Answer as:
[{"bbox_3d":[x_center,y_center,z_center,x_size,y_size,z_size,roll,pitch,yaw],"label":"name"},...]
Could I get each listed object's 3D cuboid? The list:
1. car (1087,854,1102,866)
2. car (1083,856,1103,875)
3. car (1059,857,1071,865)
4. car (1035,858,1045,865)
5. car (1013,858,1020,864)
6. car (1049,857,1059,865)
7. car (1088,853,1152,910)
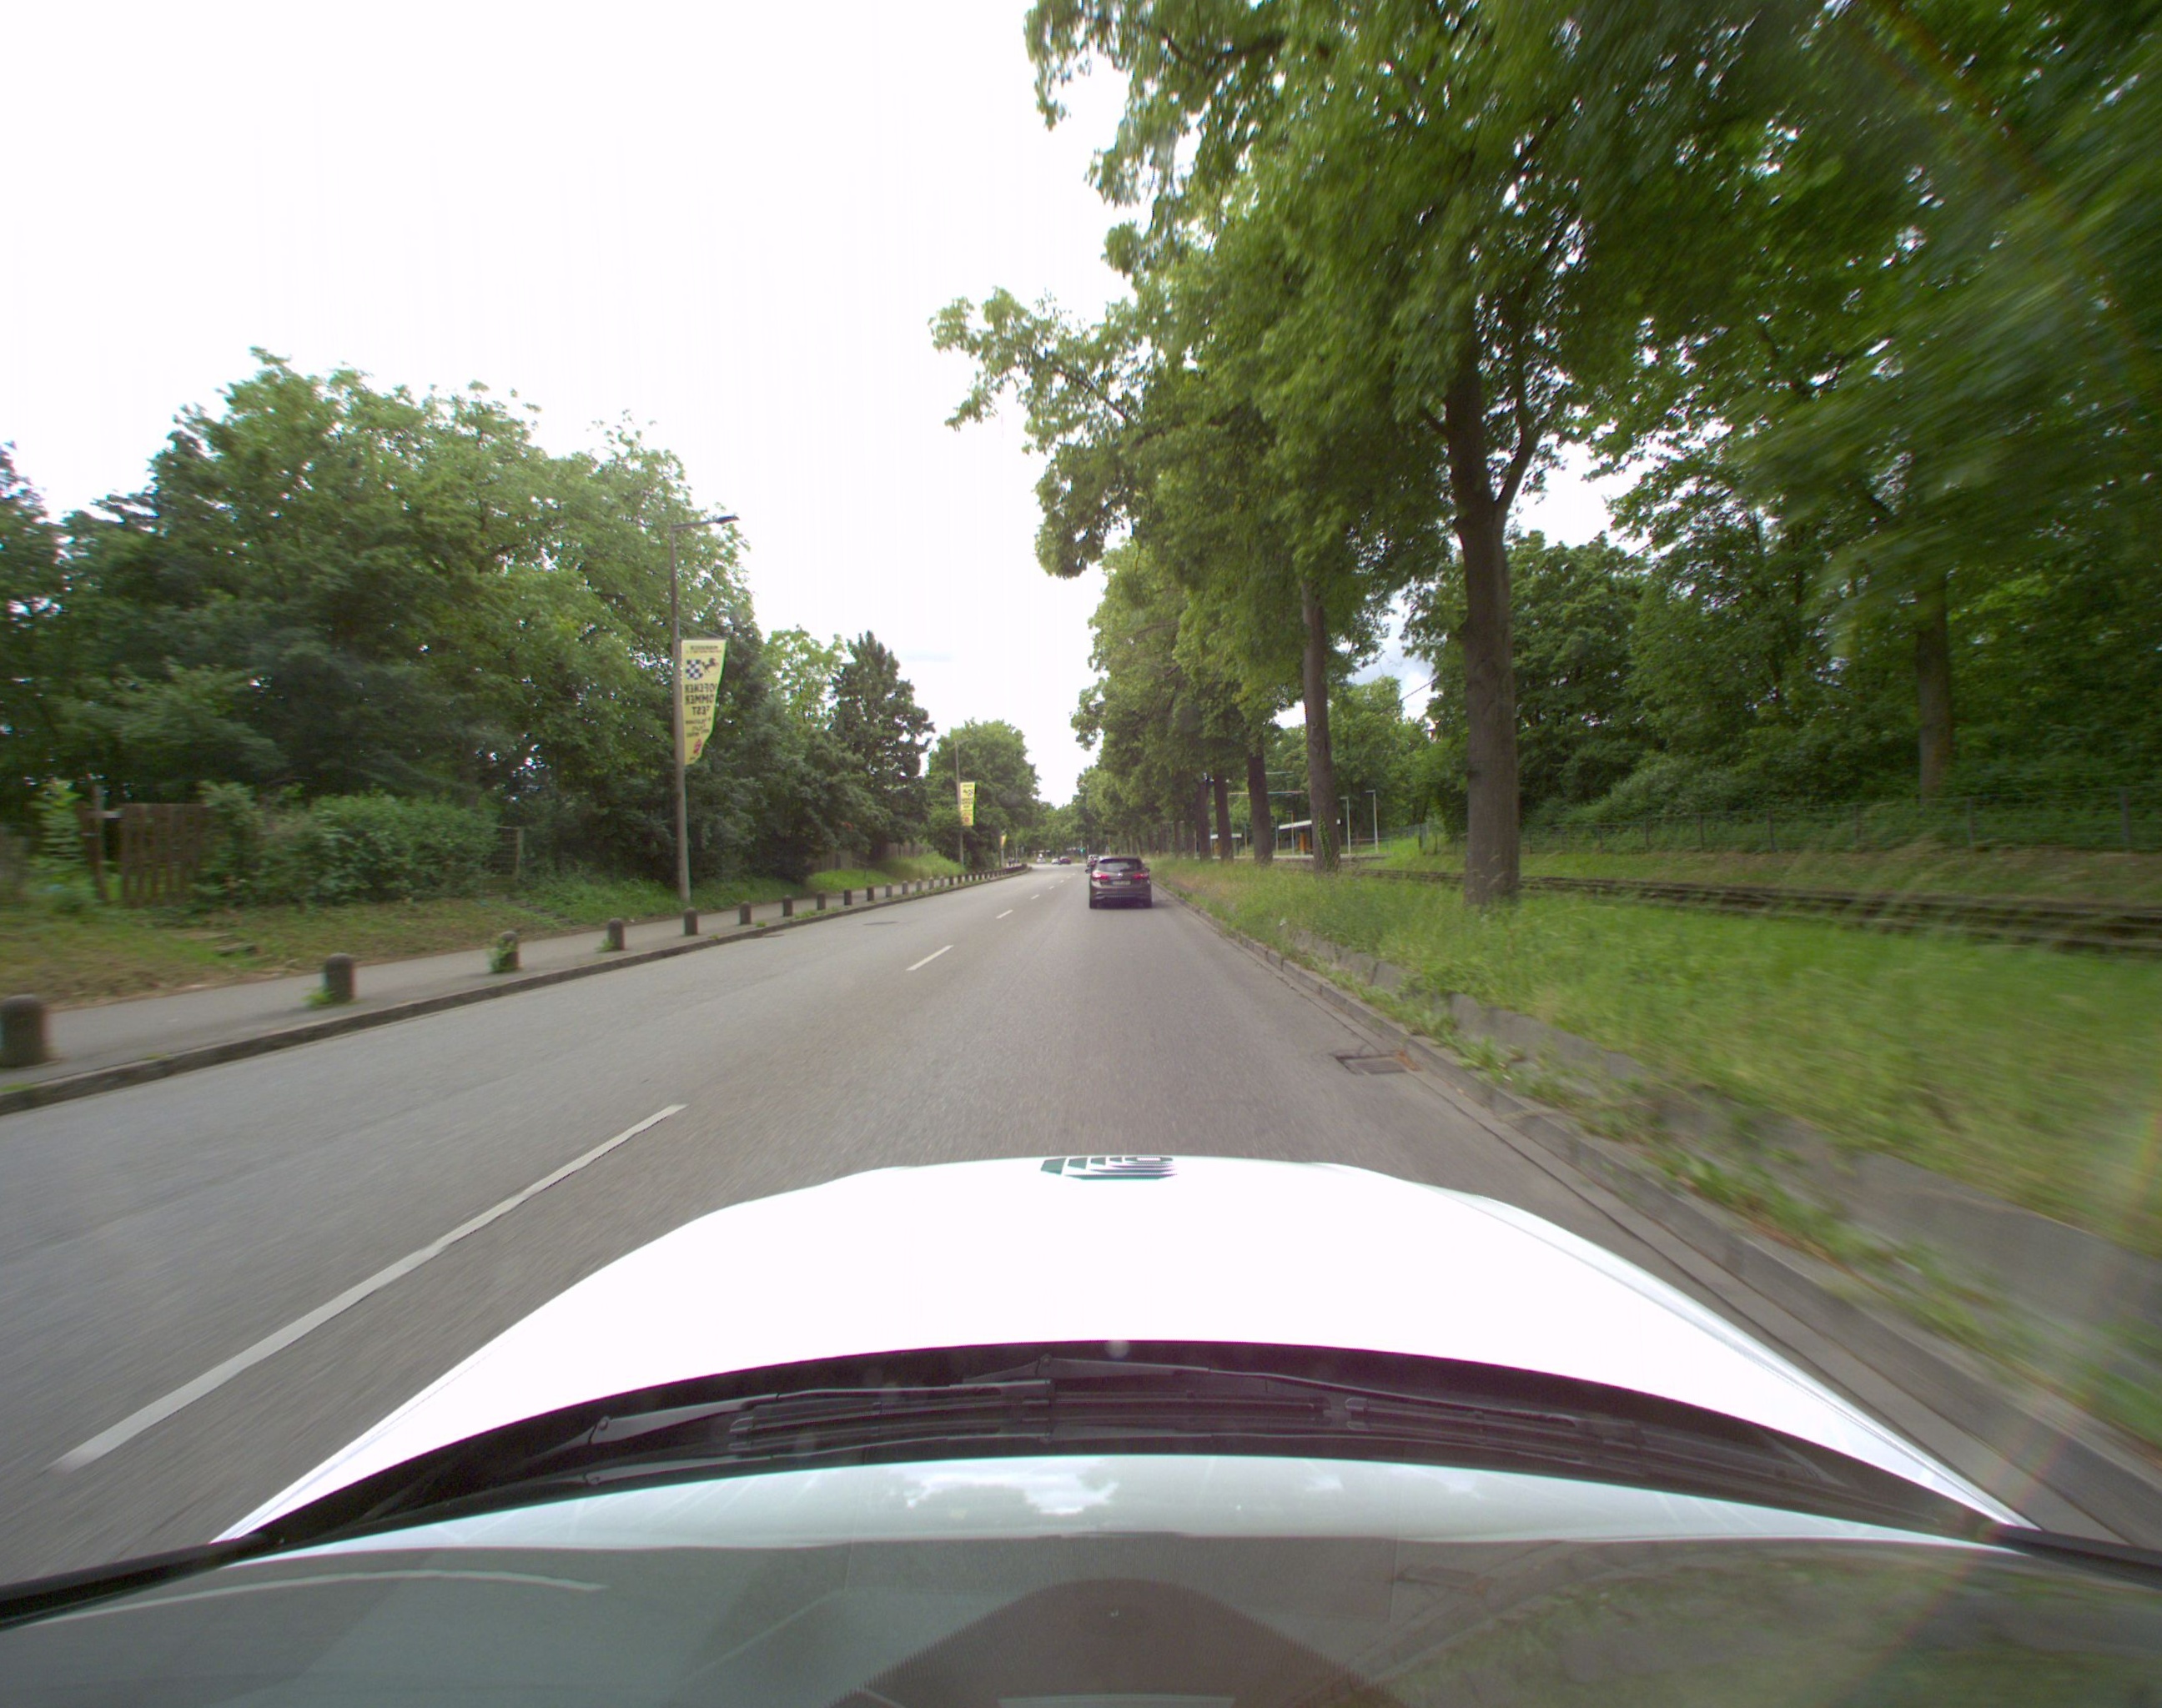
[{"bbox_3d":[1.656,0.703,99.819,1.558,1.441,3.546,-1,0,-4],"label":"car"},{"bbox_3d":[1.044,1.003,72.323,1.724,1.537,3.552,-1,0,1],"label":"car"},{"bbox_3d":[-2.824,1.172,139.204,1.561,1.441,3.540,-1,0,-10],"label":"car"},{"bbox_3d":[-8.900,1.638,176.757,1.563,1.441,3.536,-1,0,-13],"label":"car"},{"bbox_3d":[-16.593,1.813,210.452,1.561,1.441,3.541,-1,0,-8],"label":"car"},{"bbox_3d":[-5.139,1.293,154.416,1.561,1.441,3.540,-1,0,-10],"label":"car"},{"bbox_3d":[1.097,0.743,24.035,1.724,1.537,3.552,-1,0,1],"label":"car"}]
